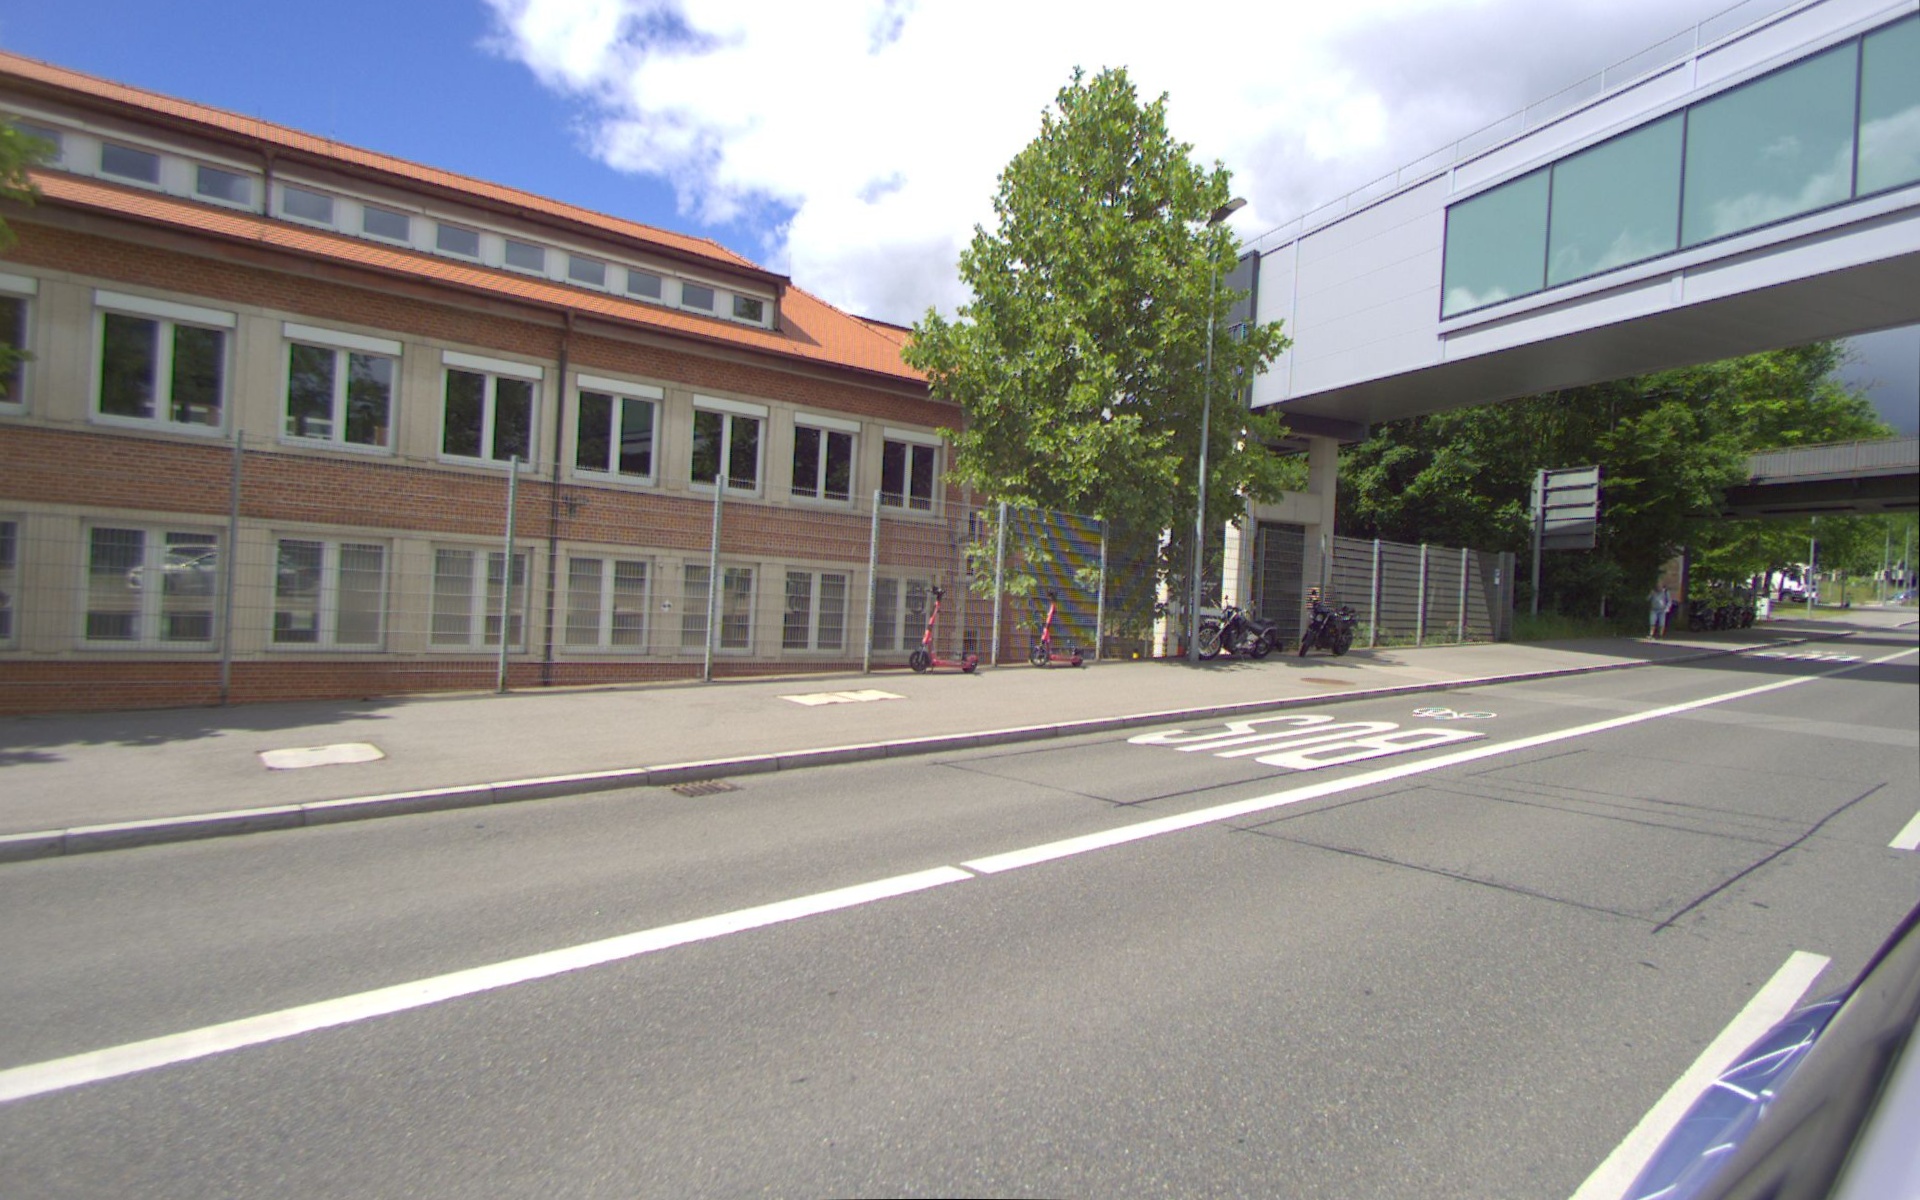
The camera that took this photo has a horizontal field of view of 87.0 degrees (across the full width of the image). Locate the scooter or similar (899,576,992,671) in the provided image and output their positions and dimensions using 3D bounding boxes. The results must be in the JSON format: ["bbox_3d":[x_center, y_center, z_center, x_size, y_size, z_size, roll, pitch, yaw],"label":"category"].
[{"bbox_3d":[-0.205,0.330,14.746,1.313,1.310,0.492,0,2,-41],"label":"scooter or similar"}]

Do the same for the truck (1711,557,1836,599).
[{"bbox_3d":[82.220,-2.187,102.626,2.730,4.055,10.108,1,1,-17],"label":"truck"}]

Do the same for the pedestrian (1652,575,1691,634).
[{"bbox_3d":[23.672,0.128,33.672,1.078,1.911,0.791,0,2,-41],"label":"pedestrian"}]

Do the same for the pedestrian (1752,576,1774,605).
[{"bbox_3d":[52.663,-0.628,66.372,0.942,1.834,0.712,2,2,26],"label":"pedestrian"}]

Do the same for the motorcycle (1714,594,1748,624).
[{"bbox_3d":[31.835,0.365,41.785,2.123,1.157,0.679,0,2,-42],"label":"motorcycle"}]

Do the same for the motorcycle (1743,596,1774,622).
[{"bbox_3d":[35.475,0.382,44.954,2.143,1.096,0.679,0,2,-42],"label":"motorcycle"}]

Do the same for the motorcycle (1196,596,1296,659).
[{"bbox_3d":[5.421,0.491,19.109,2.208,1.077,0.670,0,4,-41],"label":"motorcycle"}]

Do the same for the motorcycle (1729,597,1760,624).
[{"bbox_3d":[33.615,0.424,43.367,2.003,1.096,0.679,0,2,-42],"label":"motorcycle"}]

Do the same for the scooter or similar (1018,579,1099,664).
[{"bbox_3d":[1.593,0.329,16.311,1.313,1.310,0.492,0,2,-41],"label":"scooter or similar"}]

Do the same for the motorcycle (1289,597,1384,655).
[{"bbox_3d":[7.843,0.507,21.006,2.466,1.077,0.709,0,4,-41],"label":"motorcycle"}]

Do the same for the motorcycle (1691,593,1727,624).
[{"bbox_3d":[29.899,0.336,40.388,2.075,1.168,0.679,0,2,-40],"label":"motorcycle"}]
